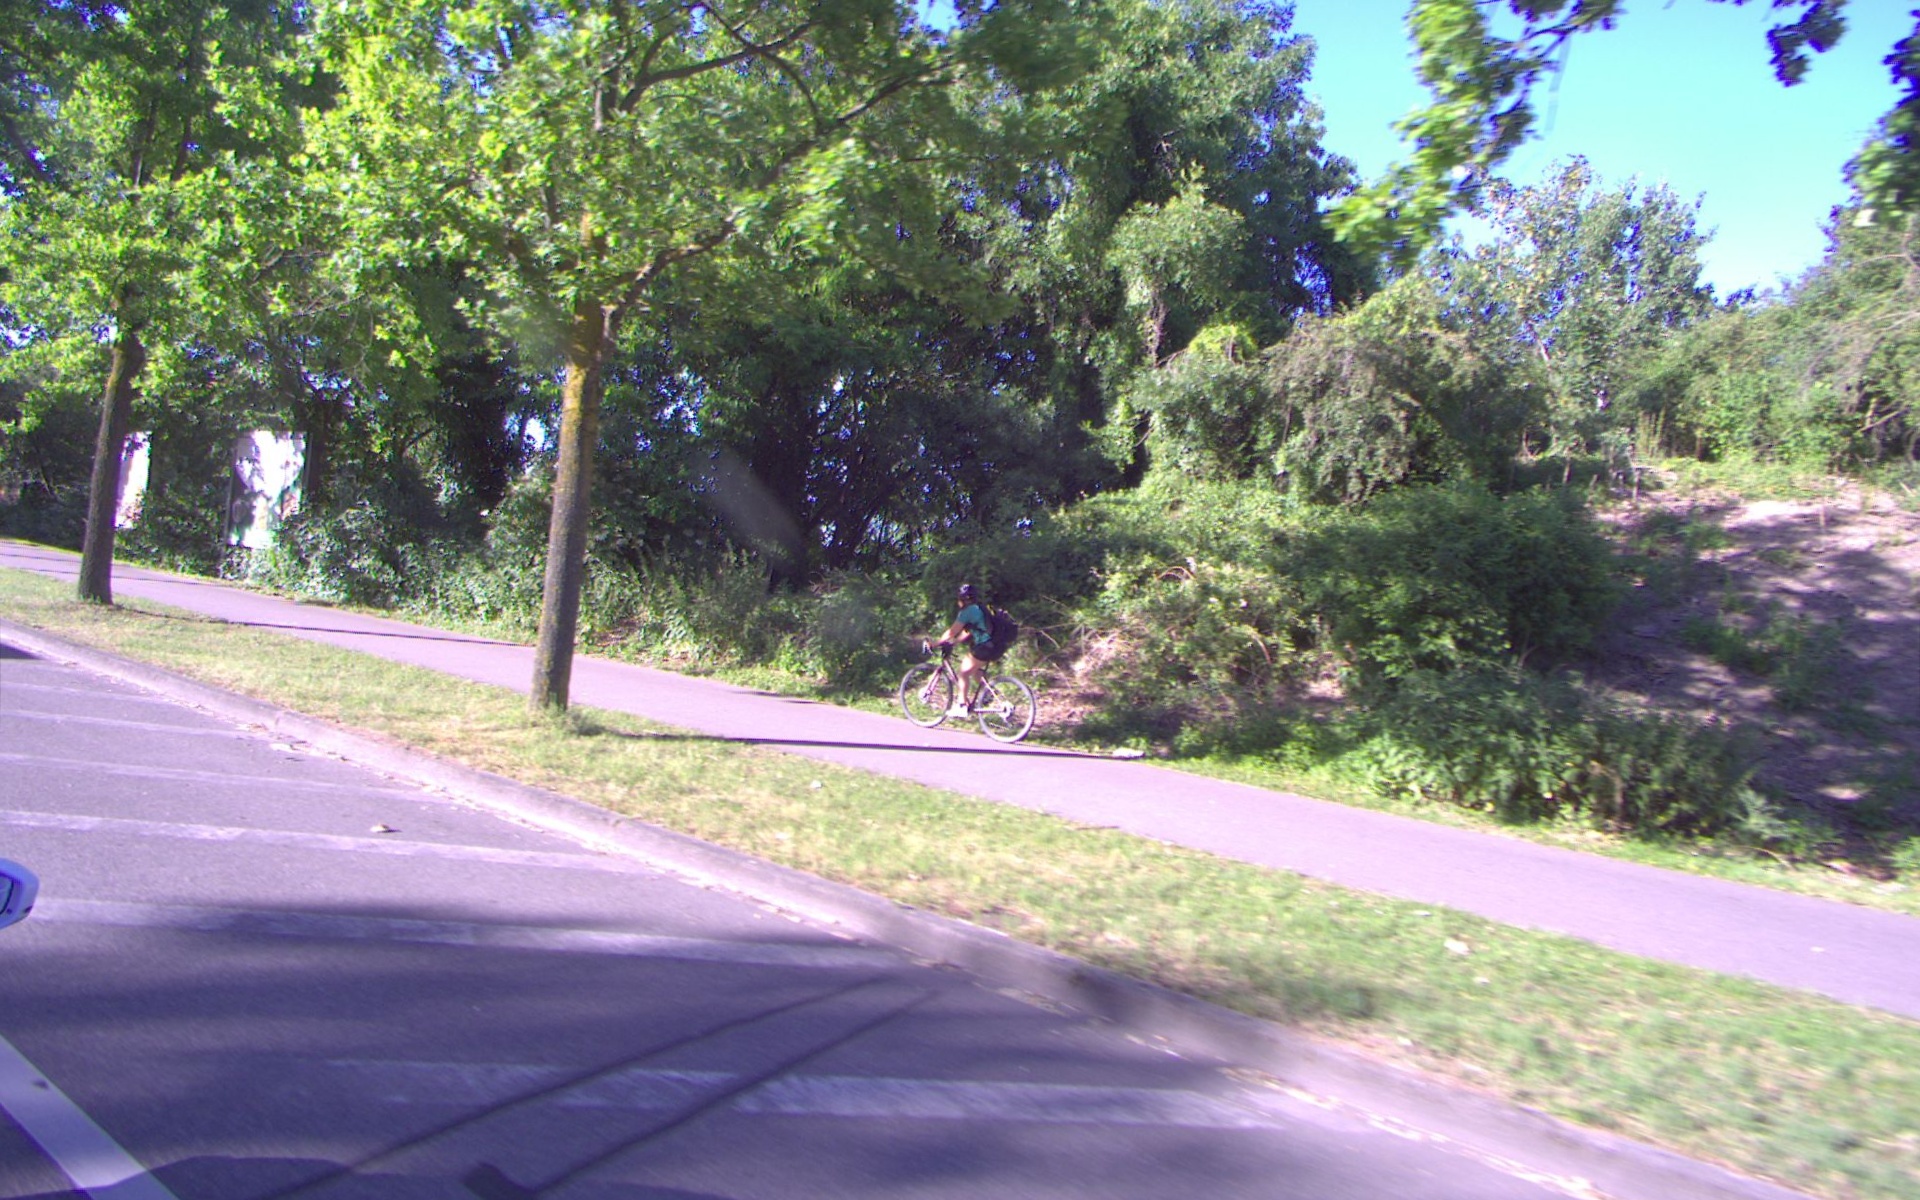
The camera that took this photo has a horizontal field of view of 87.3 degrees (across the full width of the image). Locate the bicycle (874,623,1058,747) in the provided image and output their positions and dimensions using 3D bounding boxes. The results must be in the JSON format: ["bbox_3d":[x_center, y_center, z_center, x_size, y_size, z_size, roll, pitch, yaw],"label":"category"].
[{"bbox_3d":[0.044,0.904,11.051,1.903,1.085,0.517,6,0,28],"label":"bicycle"}]

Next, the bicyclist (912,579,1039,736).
[{"bbox_3d":[0.173,0.618,10.962,1.018,1.541,0.686,7,0,28],"label":"bicyclist"}]
